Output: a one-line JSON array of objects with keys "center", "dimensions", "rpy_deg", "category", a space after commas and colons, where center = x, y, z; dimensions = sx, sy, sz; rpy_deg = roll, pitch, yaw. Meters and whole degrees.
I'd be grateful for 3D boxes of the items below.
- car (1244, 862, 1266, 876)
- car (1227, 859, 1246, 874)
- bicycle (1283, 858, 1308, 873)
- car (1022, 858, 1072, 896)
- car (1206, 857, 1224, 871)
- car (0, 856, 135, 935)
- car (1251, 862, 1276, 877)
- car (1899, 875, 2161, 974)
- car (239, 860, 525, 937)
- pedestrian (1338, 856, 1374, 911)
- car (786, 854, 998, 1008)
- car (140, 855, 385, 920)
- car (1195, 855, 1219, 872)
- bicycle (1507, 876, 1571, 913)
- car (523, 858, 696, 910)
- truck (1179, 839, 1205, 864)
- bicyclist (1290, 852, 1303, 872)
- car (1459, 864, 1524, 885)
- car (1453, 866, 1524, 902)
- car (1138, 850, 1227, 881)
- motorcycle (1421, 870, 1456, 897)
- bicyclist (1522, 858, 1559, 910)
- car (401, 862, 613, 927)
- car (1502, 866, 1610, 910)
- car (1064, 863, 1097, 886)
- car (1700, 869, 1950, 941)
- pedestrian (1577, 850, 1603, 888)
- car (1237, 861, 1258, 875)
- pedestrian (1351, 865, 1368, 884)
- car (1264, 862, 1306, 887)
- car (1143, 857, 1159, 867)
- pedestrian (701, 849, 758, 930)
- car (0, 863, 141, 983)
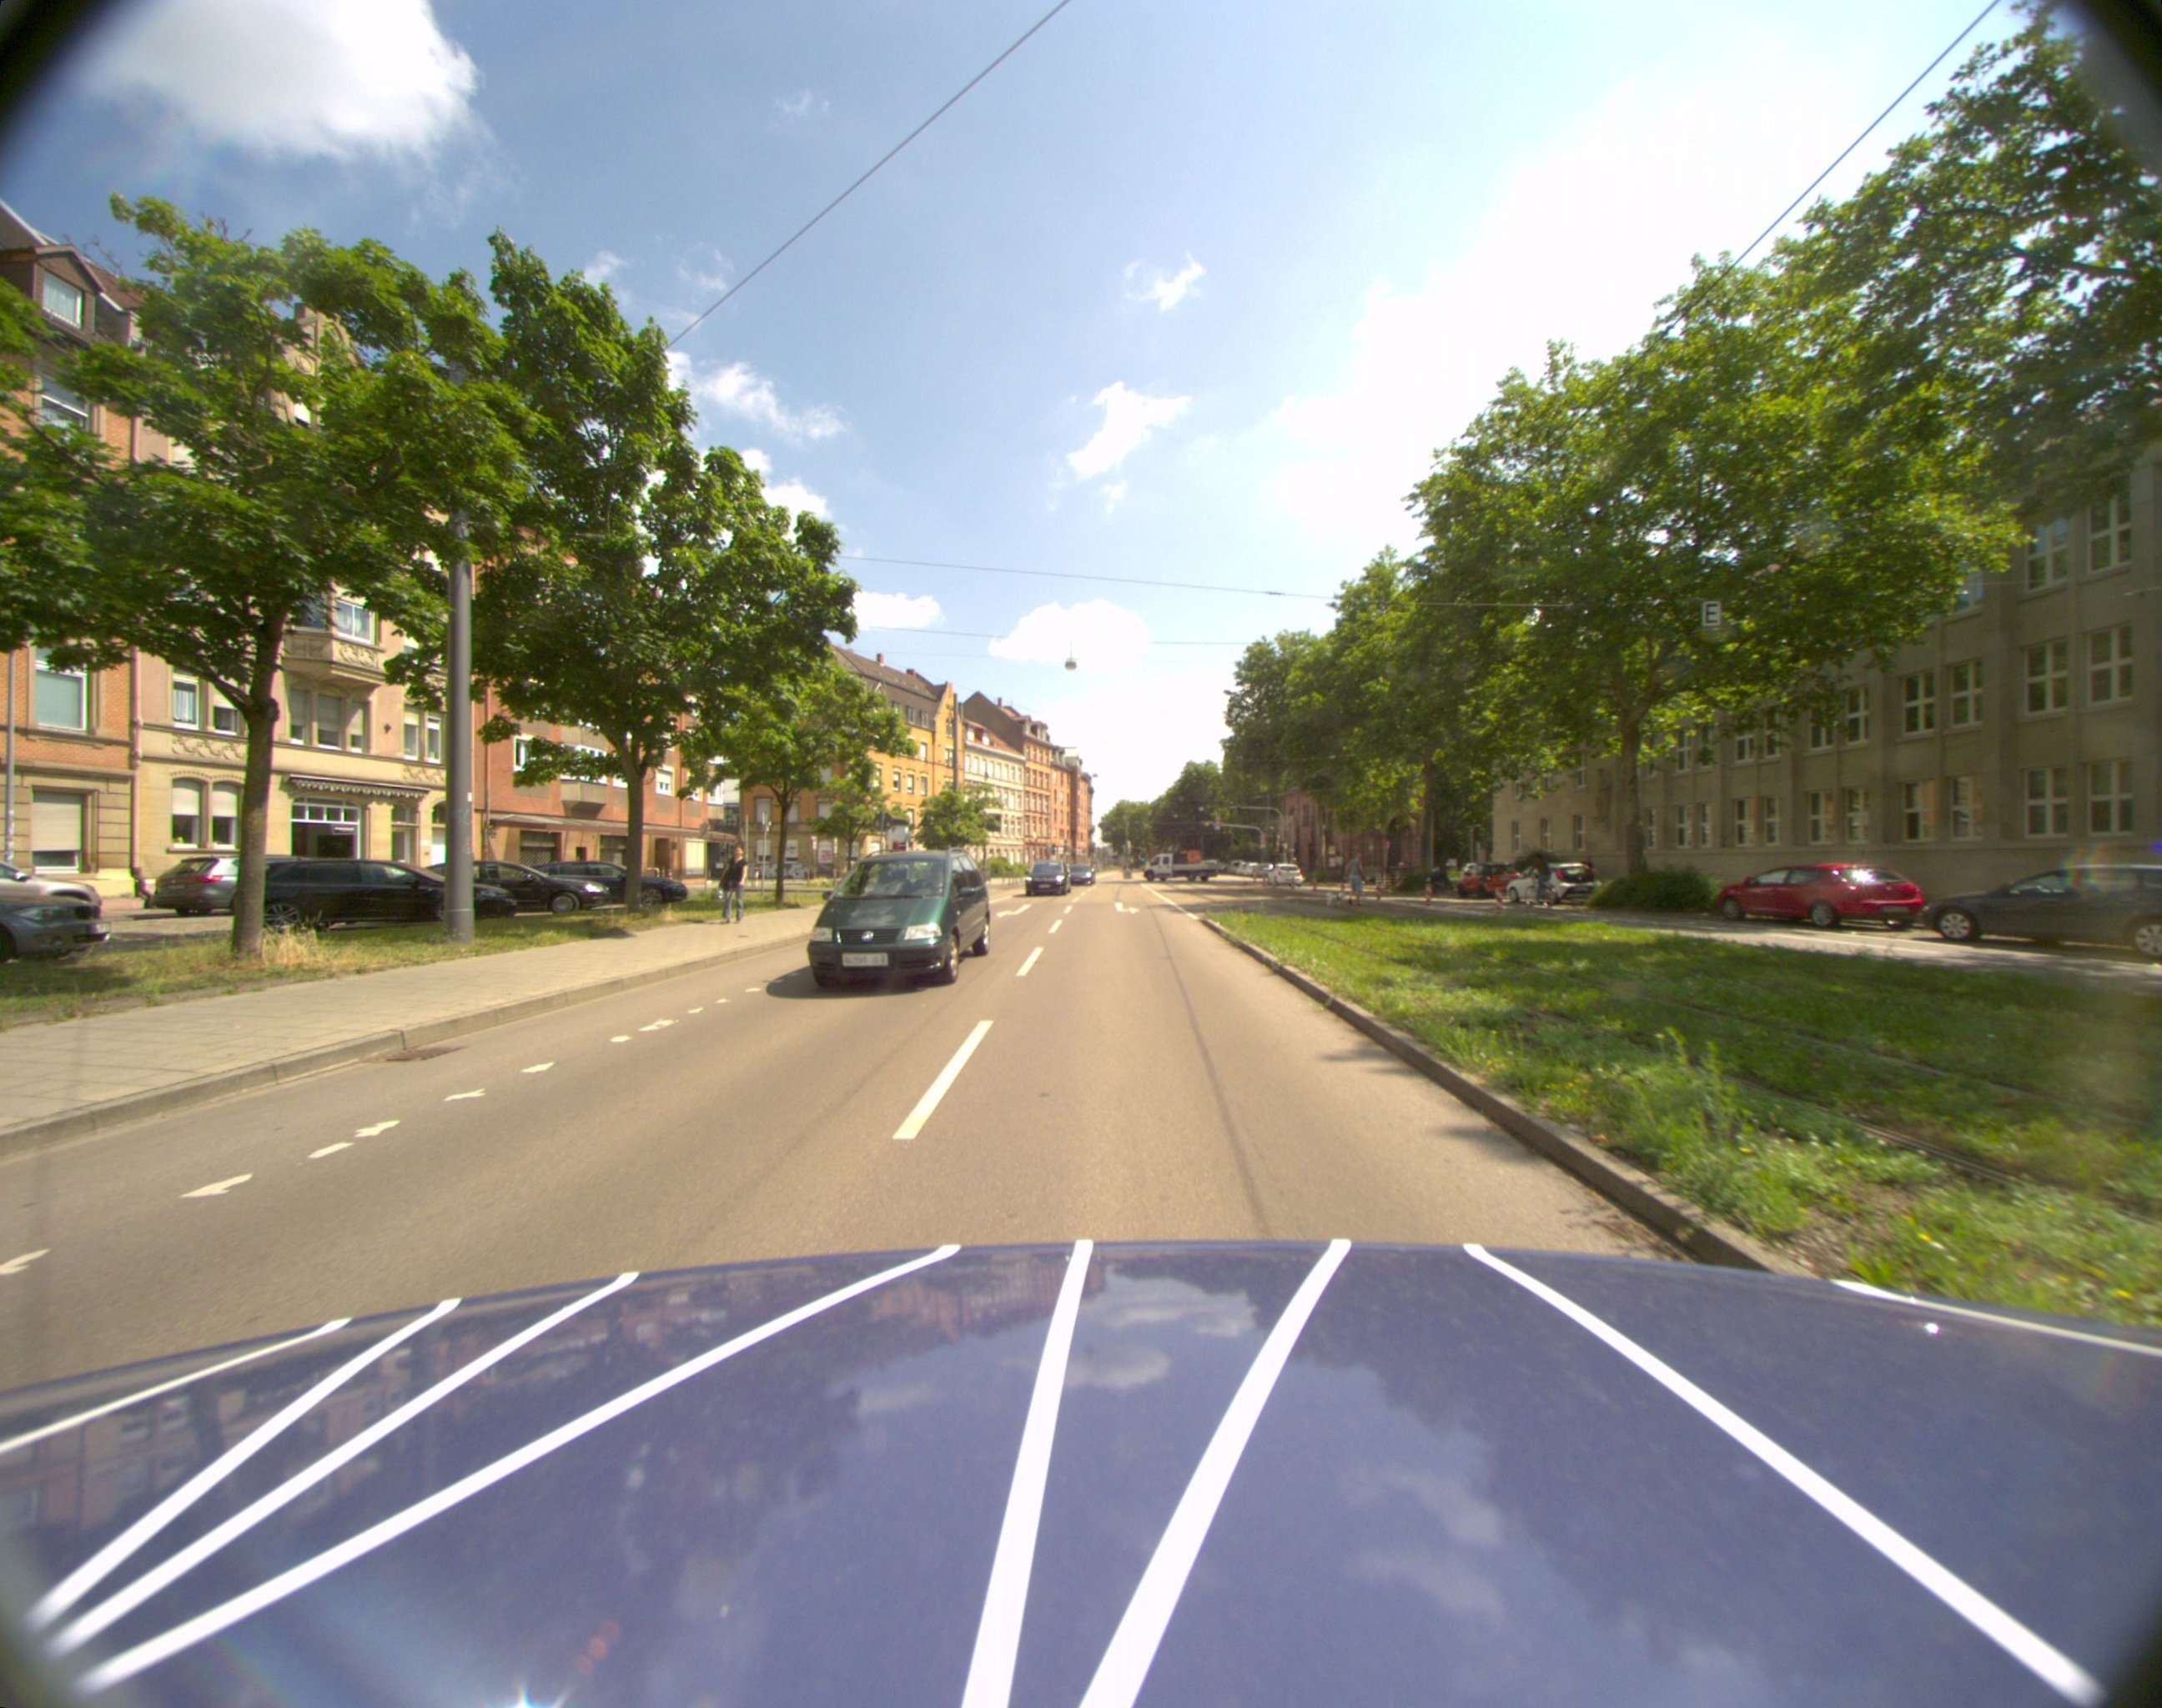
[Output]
[{"center": [19.452, 1.621, 85.013], "dimensions": [1.761, 1.488, 4.001], "rpy_deg": [-1, 0, 2], "category": "car"}, {"center": [19.626, 1.522, 96.181], "dimensions": [1.761, 1.825, 4.001], "rpy_deg": [-1, 0, 2], "category": "car"}, {"center": [19.594, 1.004, 69.349], "dimensions": [2.088, 1.282, 0.671], "rpy_deg": [-2, 0, -5], "category": "bicycle"}, {"center": [-1.486, 1.000, 34.796], "dimensions": [1.875, 1.610, 4.190], "rpy_deg": [0, 0, 3], "category": "car"}, {"center": [20.428, 1.512, 115.979], "dimensions": [1.993, 1.992, 4.085], "rpy_deg": [-1, 0, -1], "category": "car"}, {"center": [-23.052, 0.870, 15.468], "dimensions": [1.836, 1.606, 4.496], "rpy_deg": [-1, 0, 2], "category": "car"}, {"center": [19.285, 1.623, 80.422], "dimensions": [1.761, 1.488, 4.001], "rpy_deg": [-1, 0, 2], "category": "car"}, {"center": [16.783, 1.075, 12.528], "dimensions": [1.931, 1.361, 4.318], "rpy_deg": [-1, -1, 0], "category": "car"}, {"center": [-14.343, 0.853, 15.957], "dimensions": [4.005, 1.372, 1.957], "rpy_deg": [-1, 0, -26], "category": "car"}, {"center": [8.815, 0.932, 24.362], "dimensions": [0.784, 1.694, 0.701], "rpy_deg": [-1, 1, -22], "category": "pedestrian"}, {"center": [-2.468, 0.892, 11.328], "dimensions": [1.823, 1.746, 5.031], "rpy_deg": [-1, 0, 1], "category": "car"}, {"center": [-22.782, 0.851, 21.466], "dimensions": [1.836, 1.606, 4.497], "rpy_deg": [-1, 0, 5], "category": "car"}, {"center": [14.012, 1.053, 84.705], "dimensions": [1.925, 1.735, 4.537], "rpy_deg": [3, 0, 1], "category": "car"}, {"center": [15.287, 1.325, 25.426], "dimensions": [0.792, 1.103, 2.277], "rpy_deg": [-1, 0, 1], "category": "bicycle"}, {"center": [-13.746, 0.831, 22.443], "dimensions": [4.004, 1.346, 1.958], "rpy_deg": [-1, 0, -20], "category": "car"}, {"center": [14.957, -0.334, 102.606], "dimensions": [2.645, 3.088, 7.223], "rpy_deg": [2, 0, 2], "category": "truck"}, {"center": [19.647, 0.719, 69.347], "dimensions": [0.884, 1.774, 0.662], "rpy_deg": [-2, 0, -6], "category": "bicyclist"}, {"center": [33.457, 1.606, 61.999], "dimensions": [1.764, 1.599, 4.400], "rpy_deg": [0, 0, -28], "category": "car"}, {"center": [17.372, 1.258, 32.525], "dimensions": [1.490, 1.445, 2.883], "rpy_deg": [-1, -1, 0], "category": "car"}, {"center": [8.015, 0.900, 60.907], "dimensions": [6.960, 2.360, 2.268], "rpy_deg": [0, 0, 41], "category": "car"}, {"center": [17.758, 1.439, 37.695], "dimensions": [2.111, 1.168, 0.543], "rpy_deg": [-3, -2, -36], "category": "motorcycle"}, {"center": [15.286, 0.990, 25.269], "dimensions": [0.763, 1.694, 0.783], "rpy_deg": [-1, 1, 2], "category": "bicyclist"}, {"center": [-14.035, 0.929, 18.926], "dimensions": [4.006, 1.372, 1.957], "rpy_deg": [-1, 0, -31], "category": "car"}, {"center": [17.298, 1.192, 27.889], "dimensions": [1.751, 1.445, 3.492], "rpy_deg": [-1, -1, 0], "category": "car"}, {"center": [0.011, 1.348, 51.620], "dimensions": [1.914, 1.386, 4.314], "rpy_deg": [-1, 0, 4], "category": "car"}, {"center": [17.058, 1.105, 17.765], "dimensions": [1.931, 1.411, 4.051], "rpy_deg": [-2, -1, 2], "category": "car"}, {"center": [21.513, 0.630, 32.120], "dimensions": [0.555, 1.582, 0.795], "rpy_deg": [-1, 0, 1], "category": "pedestrian"}, {"center": [19.555, 1.620, 89.593], "dimensions": [1.761, 1.488, 4.001], "rpy_deg": [-1, 0, 2], "category": "car"}, {"center": [18.112, 1.323, 49.441], "dimensions": [0.757, 1.205, 0.913], "rpy_deg": [-5, 0, 4], "category": "pedestrian"}, {"center": [13.395, 1.334, 50.036], "dimensions": [1.764, 1.471, 3.788], "rpy_deg": [2, -1, 1], "category": "car"}, {"center": [15.802, 1.849, 170.992], "dimensions": [1.765, 2.171, 3.991], "rpy_deg": [-1, 0, -27], "category": "car"}, {"center": [-7.720, 0.762, 16.732], "dimensions": [0.702, 1.694, 1.045], "rpy_deg": [2, 0, 1], "category": "pedestrian"}, {"center": [-14.376, 0.834, 8.630], "dimensions": [4.277, 1.372, 1.847], "rpy_deg": [-1, 0, -34], "category": "car"}]
